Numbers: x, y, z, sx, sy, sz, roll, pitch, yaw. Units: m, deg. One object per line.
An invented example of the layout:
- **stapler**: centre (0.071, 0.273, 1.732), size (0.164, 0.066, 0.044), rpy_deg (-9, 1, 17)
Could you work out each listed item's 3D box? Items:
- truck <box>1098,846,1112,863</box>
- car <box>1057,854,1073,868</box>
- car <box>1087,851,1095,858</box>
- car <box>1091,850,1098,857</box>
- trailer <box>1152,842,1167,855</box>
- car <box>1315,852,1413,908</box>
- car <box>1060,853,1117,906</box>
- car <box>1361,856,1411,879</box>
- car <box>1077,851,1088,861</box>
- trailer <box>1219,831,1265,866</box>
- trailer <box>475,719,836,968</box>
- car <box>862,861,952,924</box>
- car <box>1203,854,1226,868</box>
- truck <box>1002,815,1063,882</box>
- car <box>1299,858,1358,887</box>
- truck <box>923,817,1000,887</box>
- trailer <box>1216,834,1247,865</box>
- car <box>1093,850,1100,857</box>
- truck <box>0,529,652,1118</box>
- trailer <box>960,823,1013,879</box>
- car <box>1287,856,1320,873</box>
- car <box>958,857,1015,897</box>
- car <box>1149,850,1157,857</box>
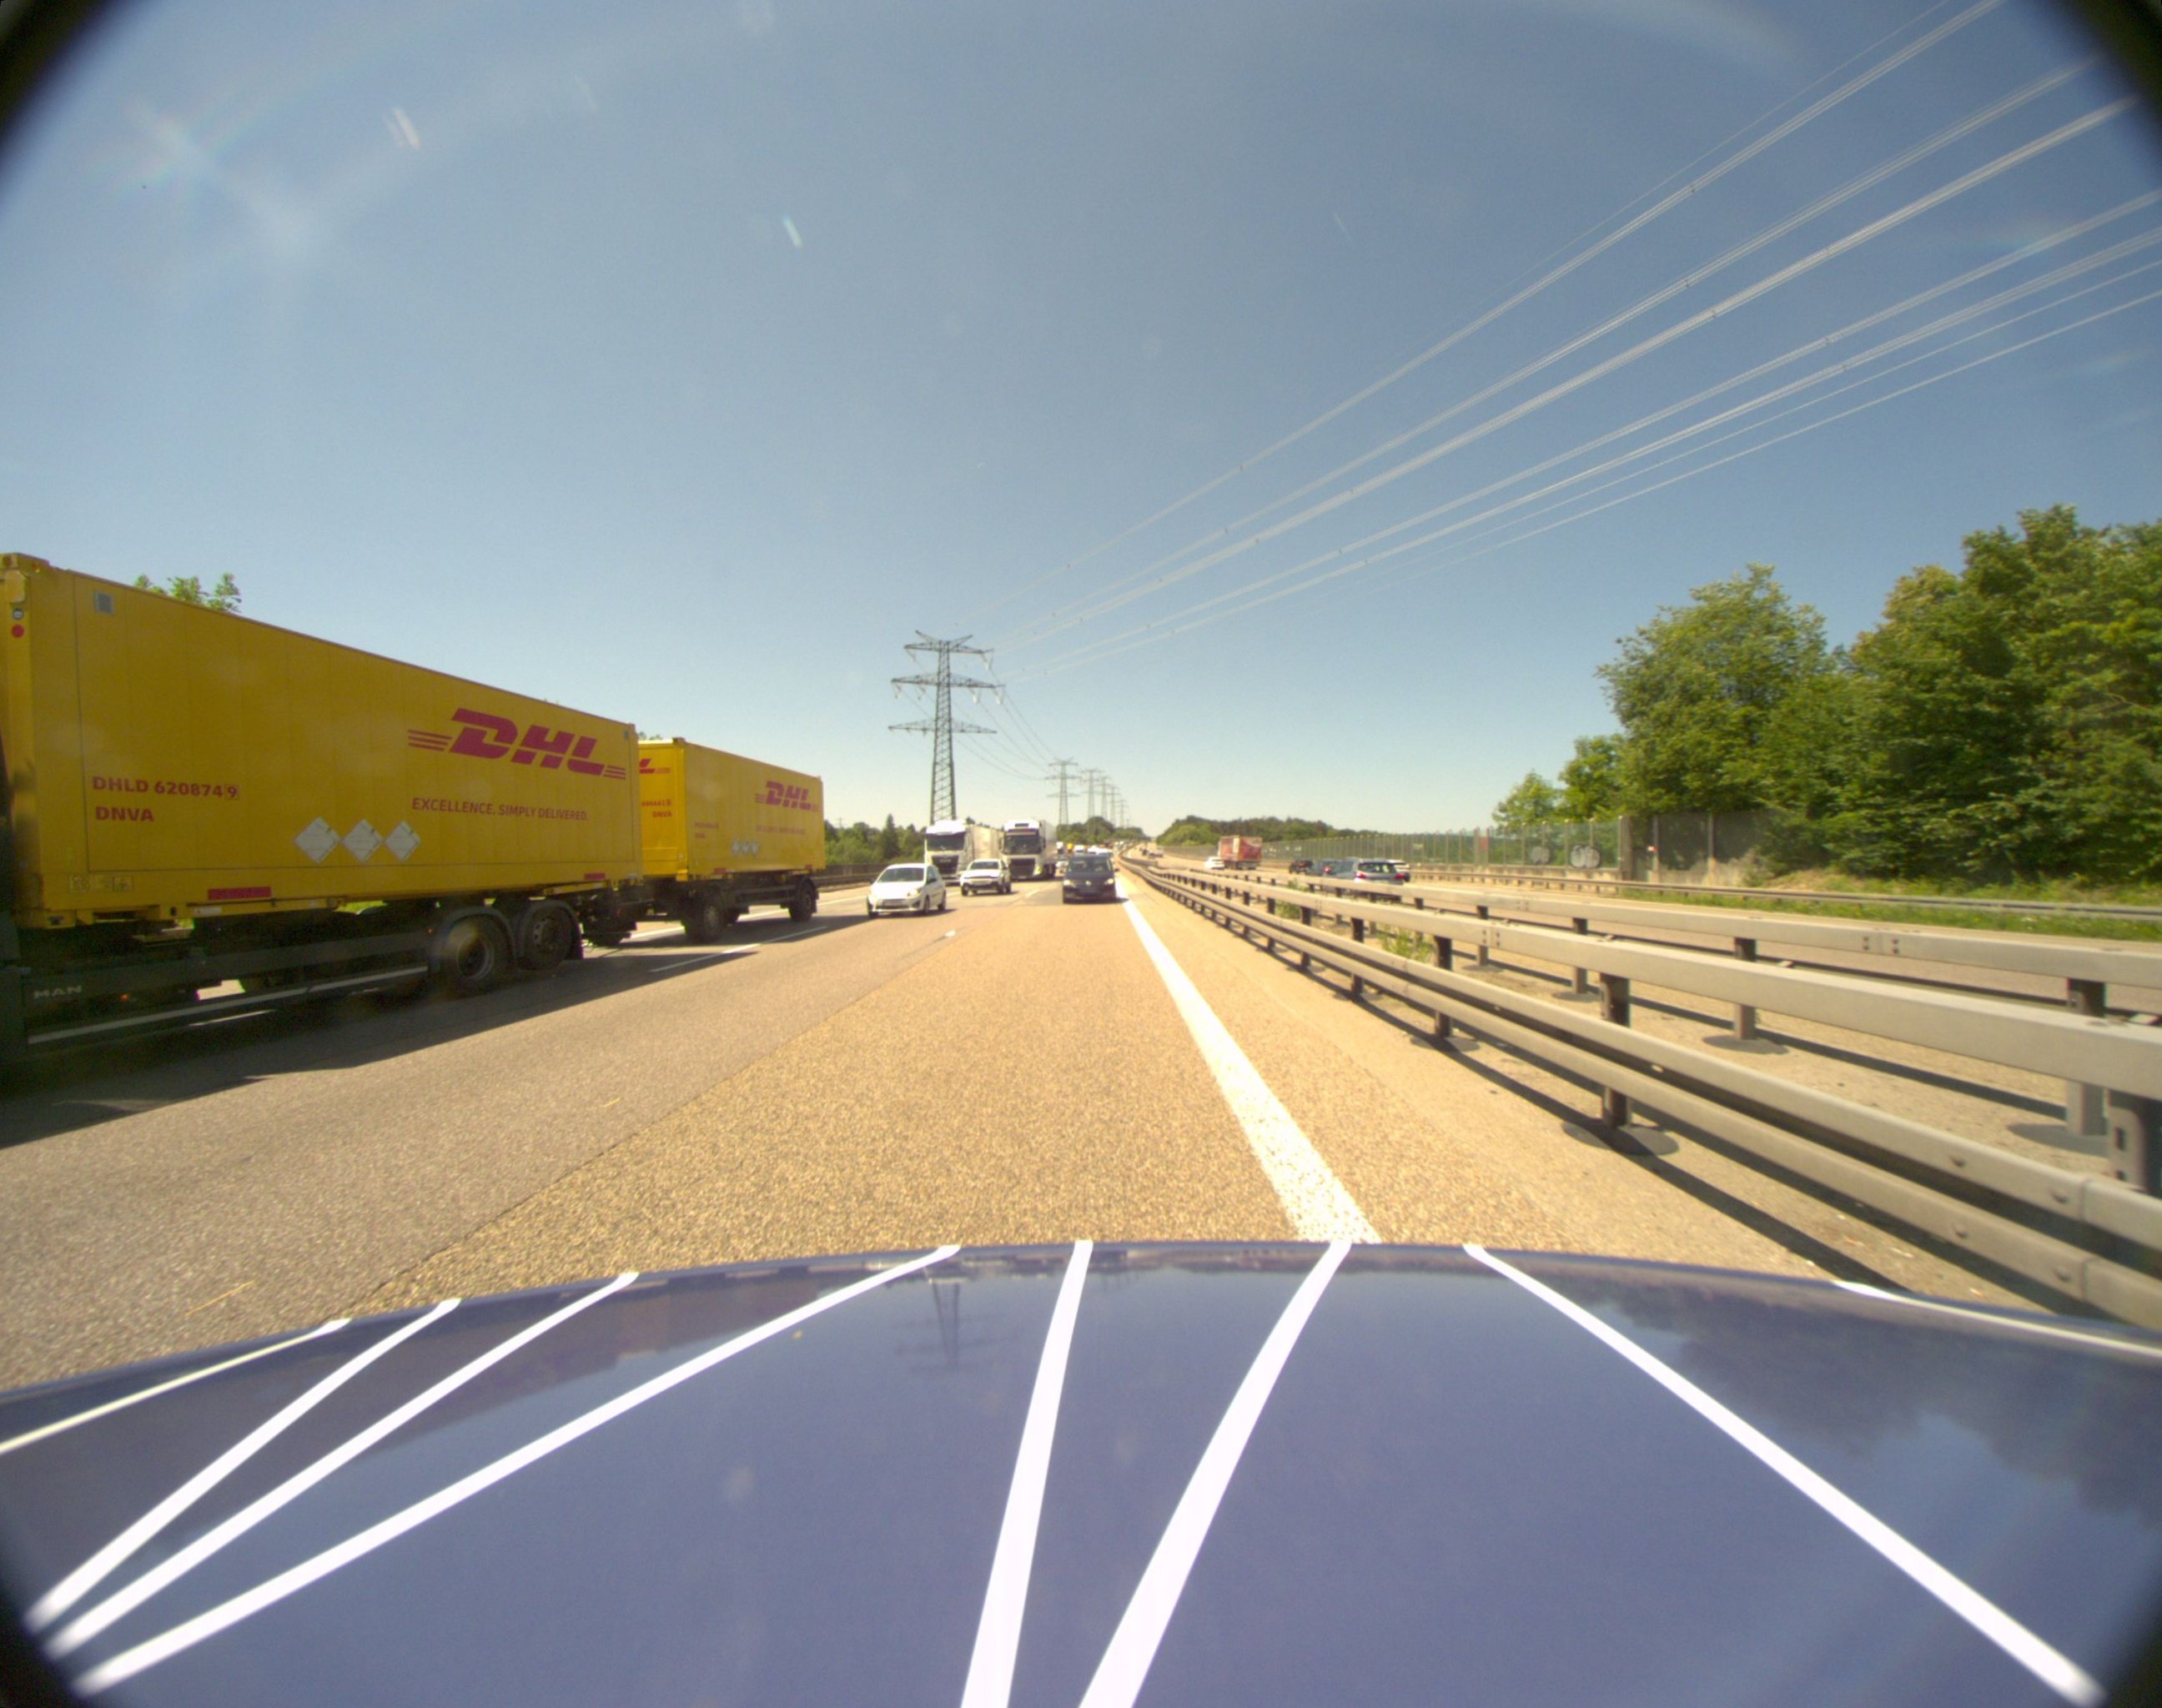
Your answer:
- **truck**: centre (4.358, 0.061, 136.332), size (2.309, 2.789, 5.110), rpy_deg (-2, 1, 2)
- **car**: centre (-2.022, 0.891, 97.715), size (1.820, 1.569, 4.000), rpy_deg (-2, 1, 2)
- **car**: centre (2.430, 0.075, 182.824), size (1.820, 1.569, 4.000), rpy_deg (-2, 1, 2)
- **car**: centre (3.534, -0.153, 197.807), size (1.820, 1.569, 4.000), rpy_deg (-2, 1, 2)
- **trailer**: centre (26.723, -2.024, 260.187), size (3.998, 4.211, 14.039), rpy_deg (-1, 1, 2)
- **car**: centre (9.376, 0.800, 25.530), size (1.777, 1.621, 3.950), rpy_deg (-2, 1, 0)
- **car**: centre (0.336, 0.806, 26.202), size (1.748, 1.569, 4.000), rpy_deg (-2, 1, 2)
- **car**: centre (21.235, 0.934, 53.113), size (1.690, 1.447, 4.344), rpy_deg (1, 1, -1)
- **car**: centre (0.318, 0.321, 136.542), size (1.820, 1.569, 4.000), rpy_deg (-2, 1, 2)
- **trailer**: centre (19.254, -0.580, 92.041), size (2.770, 3.953, 14.682), rpy_deg (1, 0, 1)
- **trailer**: centre (-8.689, -0.141, 17.507), size (2.772, 4.093, 9.378), rpy_deg (-2, 0, 1)
- **car**: centre (-5.003, 1.051, 22.308), size (1.659, 1.501, 3.825), rpy_deg (-3, 1, 0)
- **car**: centre (14.655, 0.754, 83.605), size (1.855, 1.458, 4.304), rpy_deg (0, 1, 0)
- **truck**: centre (-3.162, -0.358, 54.172), size (2.717, 4.015, 14.257), rpy_deg (-2, 0, 3)
- **car**: centre (13.365, 0.970, 41.318), size (1.881, 1.438, 4.144), rpy_deg (0, 1, 0)
- **truck**: centre (-7.431, -0.149, 48.907), size (2.695, 3.907, 11.297), rpy_deg (-2, 0, 2)
- **trailer**: centre (19.377, -0.552, 98.103), size (2.763, 3.953, 6.132), rpy_deg (1, 0, 1)
- **car**: centre (4.470, -0.076, 218.422), size (1.998, 2.002, 4.000), rpy_deg (-2, 1, 2)
- **truck**: centre (-8.829, -0.162, 7.983), size (2.772, 4.085, 9.953), rpy_deg (-2, 0, 1)
- **trailer**: centre (-7.133, -0.208, 58.468), size (2.752, 3.918, 7.774), rpy_deg (-2, 0, 2)
- **car**: centre (22.373, 1.026, 76.563), size (1.998, 1.567, 5.275), rpy_deg (-2, 1, 4)
- **car**: centre (-4.040, 0.949, 33.051), size (1.776, 1.521, 3.852), rpy_deg (-2, 1, 2)
- **car**: centre (20.402, -0.122, 216.345), size (1.998, 1.929, 4.896), rpy_deg (-2, 1, 2)
